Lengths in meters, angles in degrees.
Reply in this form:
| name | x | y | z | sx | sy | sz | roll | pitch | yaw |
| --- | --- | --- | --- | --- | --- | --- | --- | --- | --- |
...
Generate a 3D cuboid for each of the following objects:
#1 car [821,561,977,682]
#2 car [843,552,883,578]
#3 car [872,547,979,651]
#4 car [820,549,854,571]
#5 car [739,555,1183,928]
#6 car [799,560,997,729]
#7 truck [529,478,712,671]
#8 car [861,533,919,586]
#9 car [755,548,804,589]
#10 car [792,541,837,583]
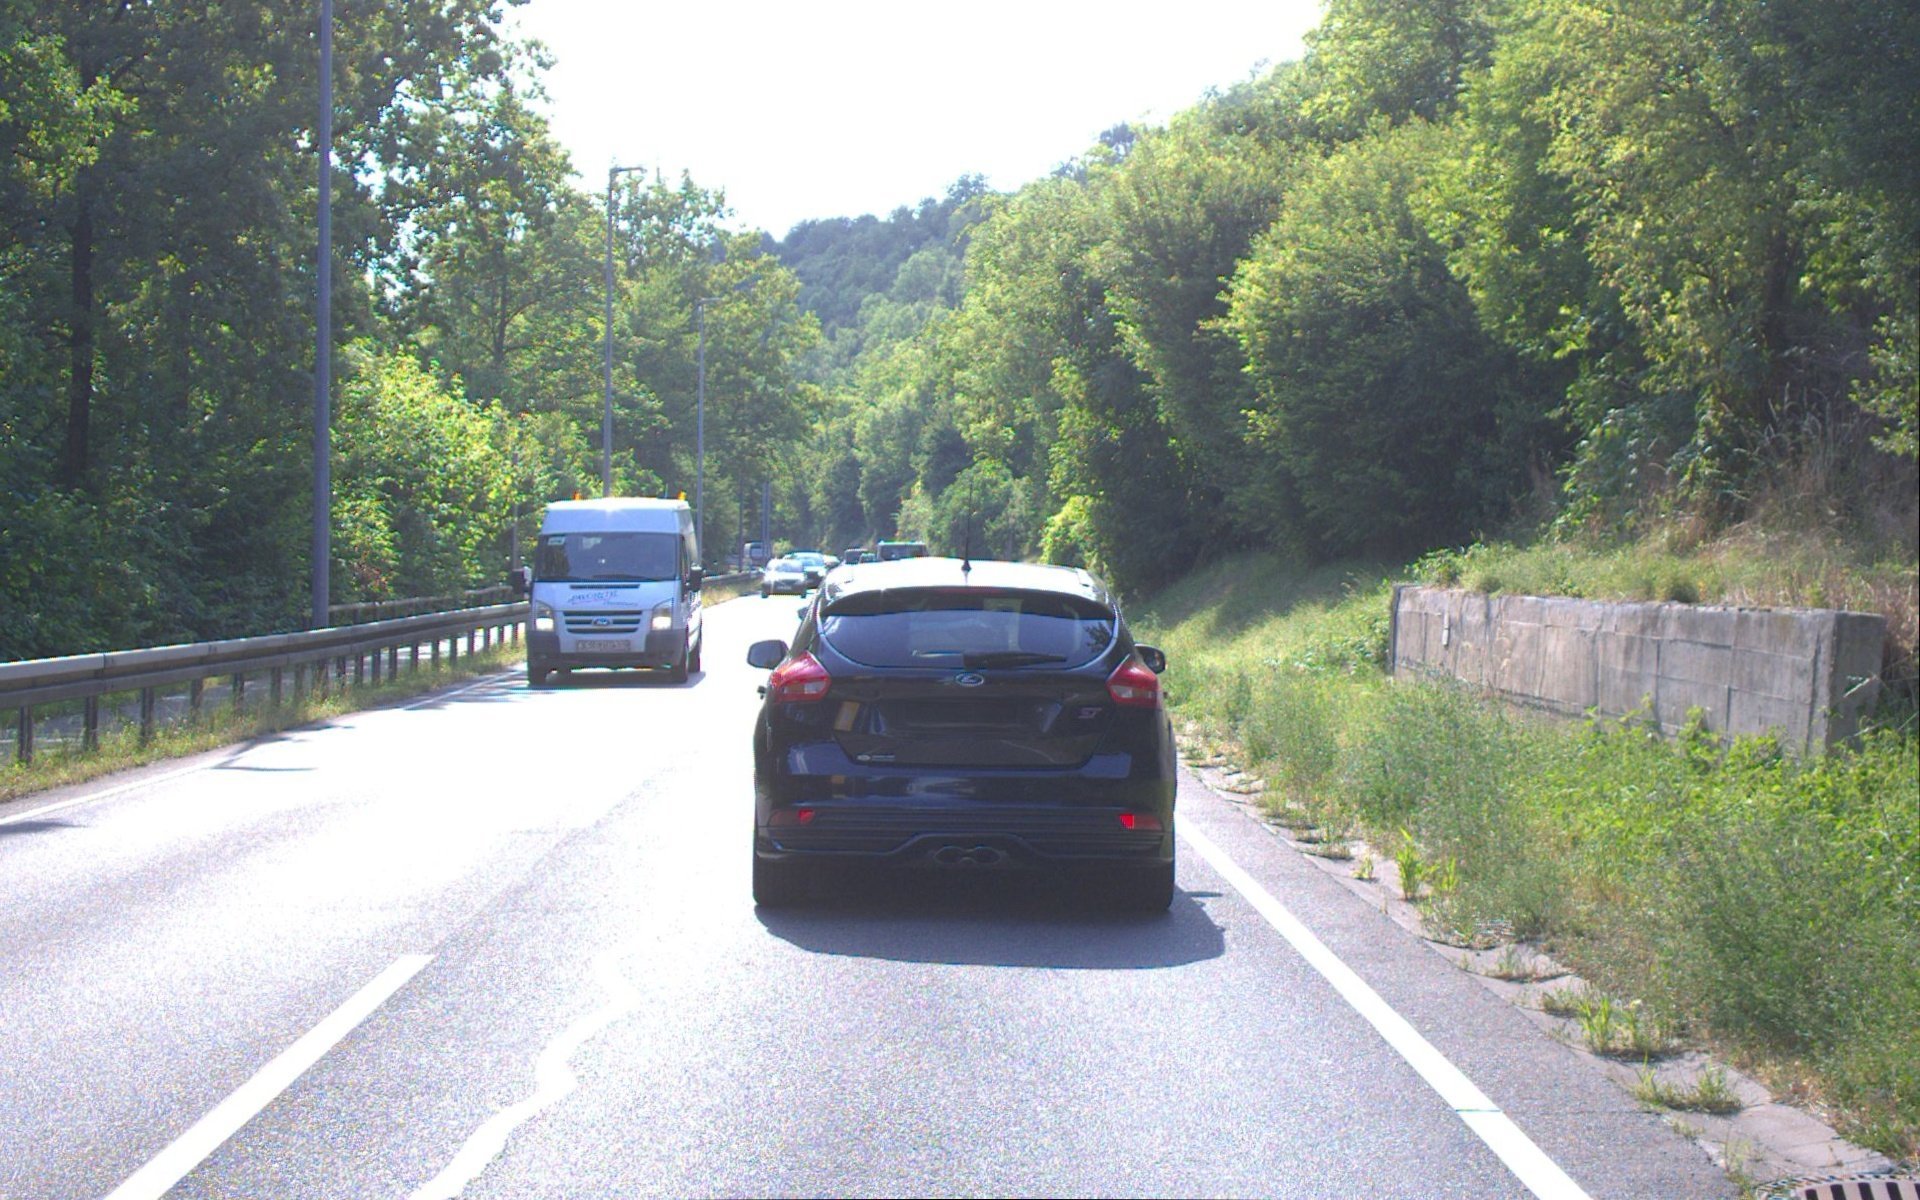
| name | x | y | z | sx | sy | sz | roll | pitch | yaw |
| --- | --- | --- | --- | --- | --- | --- | --- | --- | --- |
| car | -0.738 | 0.230 | 41.946 | 1.804 | 1.387 | 4.000 | 0 | 1 | -1 |
| car | -5.849 | -2.117 | 206.721 | 1.993 | 1.514 | 4.001 | 0 | 1 | -8 |
| car | -0.559 | -0.046 | 54.972 | 1.630 | 1.590 | 4.000 | 0 | 1 | -1 |
| car | -8.649 | -2.797 | 241.730 | 1.993 | 1.514 | 4.001 | 0 | 1 | -8 |
| car | -0.024 | 0.540 | 15.600 | 1.739 | 1.451 | 4.000 | 1 | 1 | -1 |
| car | -0.501 | 0.351 | 30.966 | 1.661 | 1.413 | 4.000 | 0 | 1 | 1 |
| truck | -4.422 | -0.361 | 45.557 | 2.057 | 2.377 | 5.874 | 0 | 1 | -2 |
| car | -2.375 | -1.394 | 117.365 | 1.863 | 1.774 | 4.000 | 0 | 1 | 0 |
| car | -6.690 | -1.179 | 127.569 | 1.681 | 1.437 | 4.001 | -1 | 1 | -1 |
| car | -6.024 | -1.593 | 142.772 | 1.748 | 1.712 | 4.221 | 0 | 1 | 0 |
